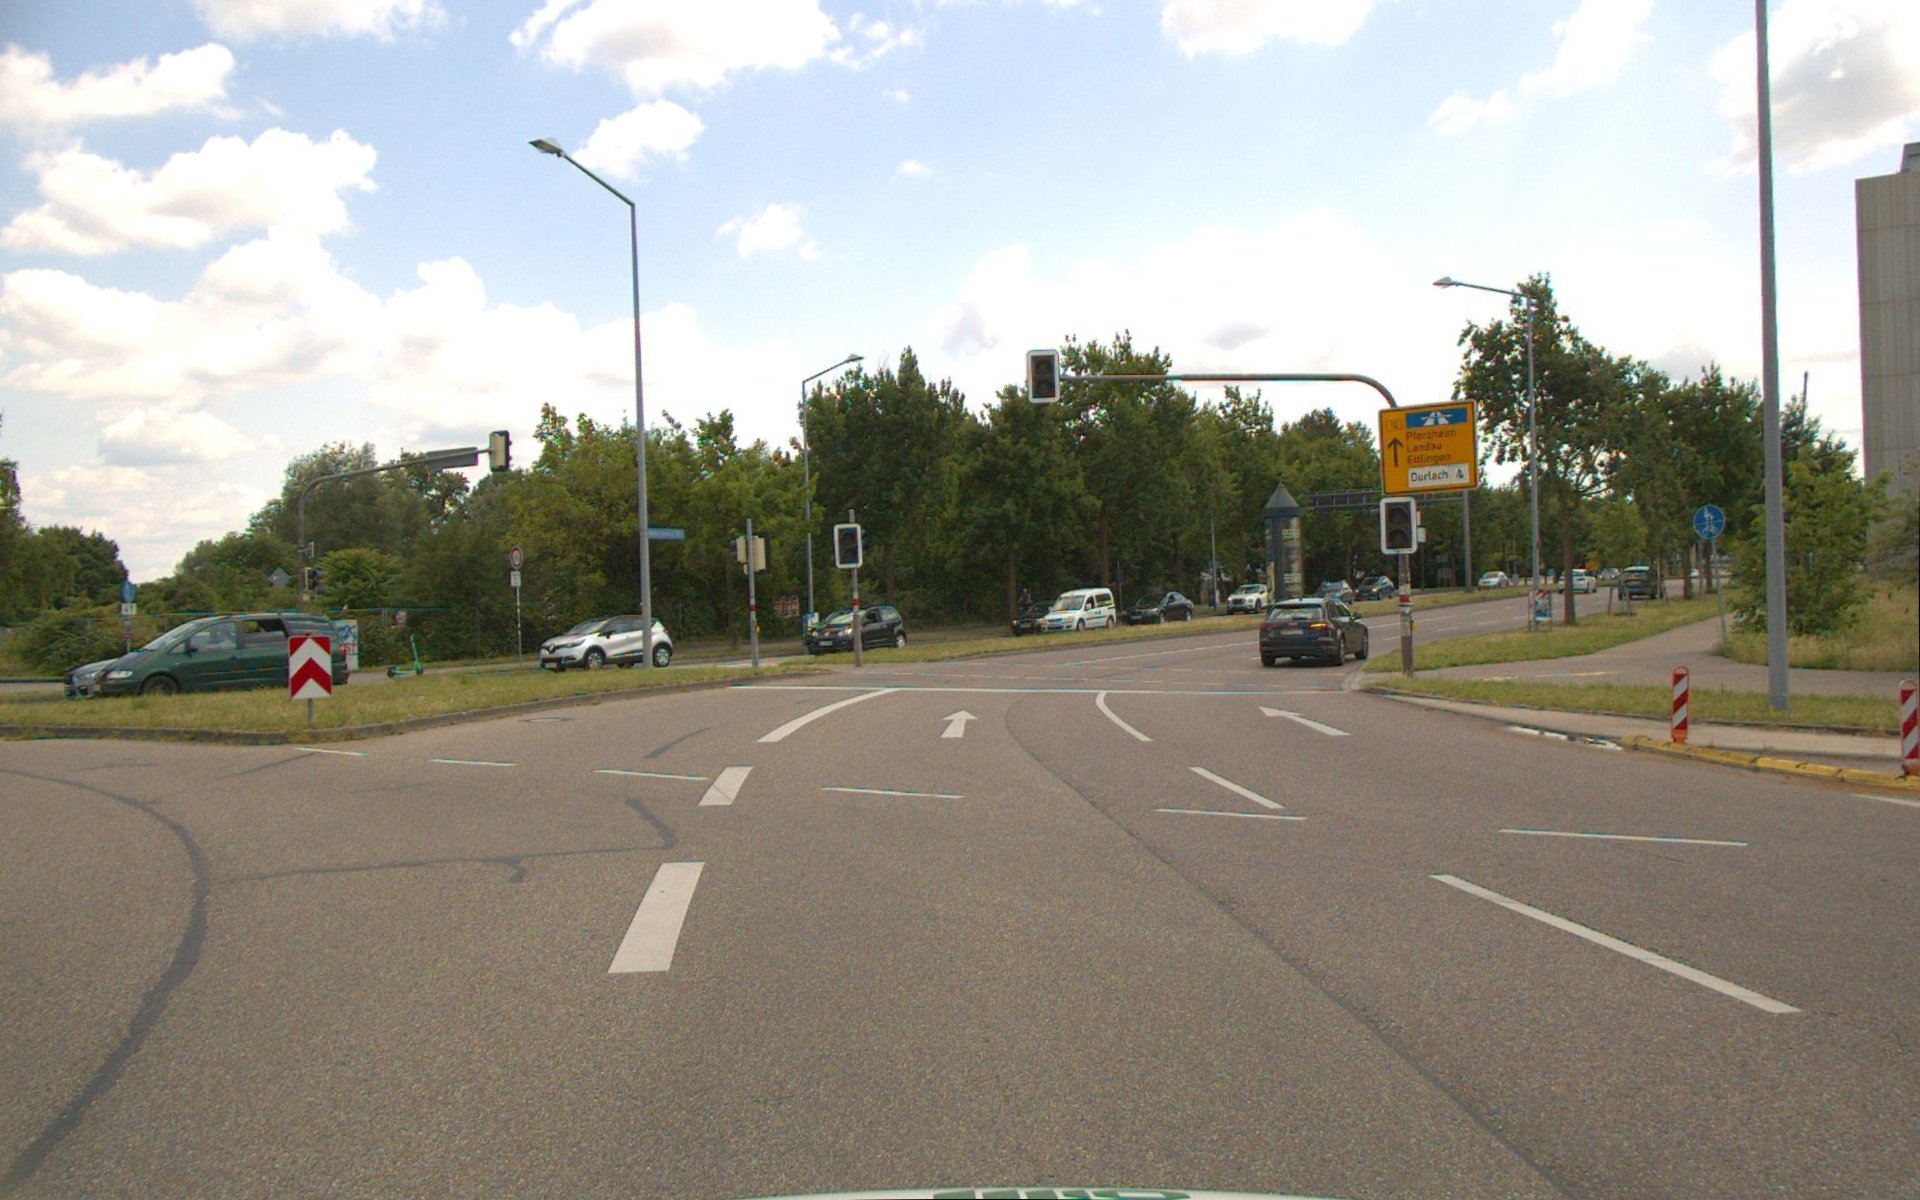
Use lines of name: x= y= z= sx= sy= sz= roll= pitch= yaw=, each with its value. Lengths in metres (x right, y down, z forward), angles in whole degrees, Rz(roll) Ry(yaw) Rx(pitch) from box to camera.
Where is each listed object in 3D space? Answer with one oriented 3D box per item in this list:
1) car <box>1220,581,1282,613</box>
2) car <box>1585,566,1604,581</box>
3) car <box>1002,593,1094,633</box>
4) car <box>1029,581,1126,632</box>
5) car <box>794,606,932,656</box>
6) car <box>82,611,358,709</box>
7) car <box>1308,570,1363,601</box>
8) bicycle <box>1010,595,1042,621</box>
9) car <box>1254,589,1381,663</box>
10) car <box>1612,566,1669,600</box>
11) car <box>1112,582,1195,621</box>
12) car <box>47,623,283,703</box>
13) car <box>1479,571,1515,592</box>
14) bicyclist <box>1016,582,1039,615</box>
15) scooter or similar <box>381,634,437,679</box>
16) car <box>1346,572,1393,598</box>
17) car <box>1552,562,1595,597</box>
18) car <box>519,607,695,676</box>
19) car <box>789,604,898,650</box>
car: x=15.981 y=-0.160 z=90.746 sx=1.874 sy=1.567 sz=4.360 roll=-3 pitch=0 yaw=30
car: x=68.989 y=-2.884 z=180.004 sx=1.705 sy=1.596 sz=4.277 roll=-4 pitch=0 yaw=19
car: x=3.762 y=0.520 z=70.119 sx=1.806 sy=1.468 sz=4.405 roll=-4 pitch=-1 yaw=35
car: x=4.731 y=0.241 z=65.855 sx=1.804 sy=1.830 sz=4.777 roll=-4 pitch=-1 yaw=31
car: x=-3.005 y=0.953 z=52.139 sx=1.805 sy=1.333 sz=4.774 roll=-4 pitch=-1 yaw=33
car: x=-14.304 y=1.116 z=32.124 sx=4.550 sy=1.620 sz=1.886 roll=-2 pitch=0 yaw=-41
car: x=22.047 y=-0.871 z=96.986 sx=1.690 sy=1.618 sz=5.003 roll=-3 pitch=0 yaw=30
bicycle: x=3.281 y=0.400 z=82.249 sx=0.747 sy=1.240 sz=2.013 roll=0 pitch=1 yaw=30
car: x=7.969 y=0.533 z=36.631 sx=1.652 sy=1.489 sz=3.993 roll=-1 pitch=1 yaw=29
car: x=35.609 y=-0.906 z=86.530 sx=1.958 sy=1.654 sz=4.297 roll=-1 pitch=1 yaw=34
car: x=8.592 y=0.050 z=73.117 sx=1.804 sy=1.506 sz=4.743 roll=-4 pitch=-1 yaw=31
car: x=-17.065 y=1.314 z=35.636 sx=1.878 sy=1.448 sz=4.166 roll=-2 pitch=0 yaw=42
car: x=41.301 y=-1.401 z=127.189 sx=1.730 sy=1.465 sz=4.300 roll=-3 pitch=0 yaw=31
bicyclist: x=3.357 y=-0.073 z=82.366 sx=0.814 sy=1.592 sz=0.882 roll=0 pitch=1 yaw=31
scooter or similar: x=-15.430 y=1.571 z=46.343 sx=0.531 sy=1.186 sz=1.436 roll=-1 pitch=1 yaw=34
car: x=27.743 y=-1.008 z=112.057 sx=1.730 sy=1.604 sz=5.022 roll=-3 pitch=0 yaw=30
car: x=37.408 y=-1.239 z=100.761 sx=1.955 sy=2.049 sz=3.995 roll=-1 pitch=1 yaw=28
car: x=-10.025 y=1.154 z=47.275 sx=1.961 sy=1.716 sz=4.767 roll=-2 pitch=0 yaw=37
car: x=-3.968 y=0.920 z=57.123 sx=1.586 sy=1.371 sz=4.161 roll=-4 pitch=-1 yaw=31
